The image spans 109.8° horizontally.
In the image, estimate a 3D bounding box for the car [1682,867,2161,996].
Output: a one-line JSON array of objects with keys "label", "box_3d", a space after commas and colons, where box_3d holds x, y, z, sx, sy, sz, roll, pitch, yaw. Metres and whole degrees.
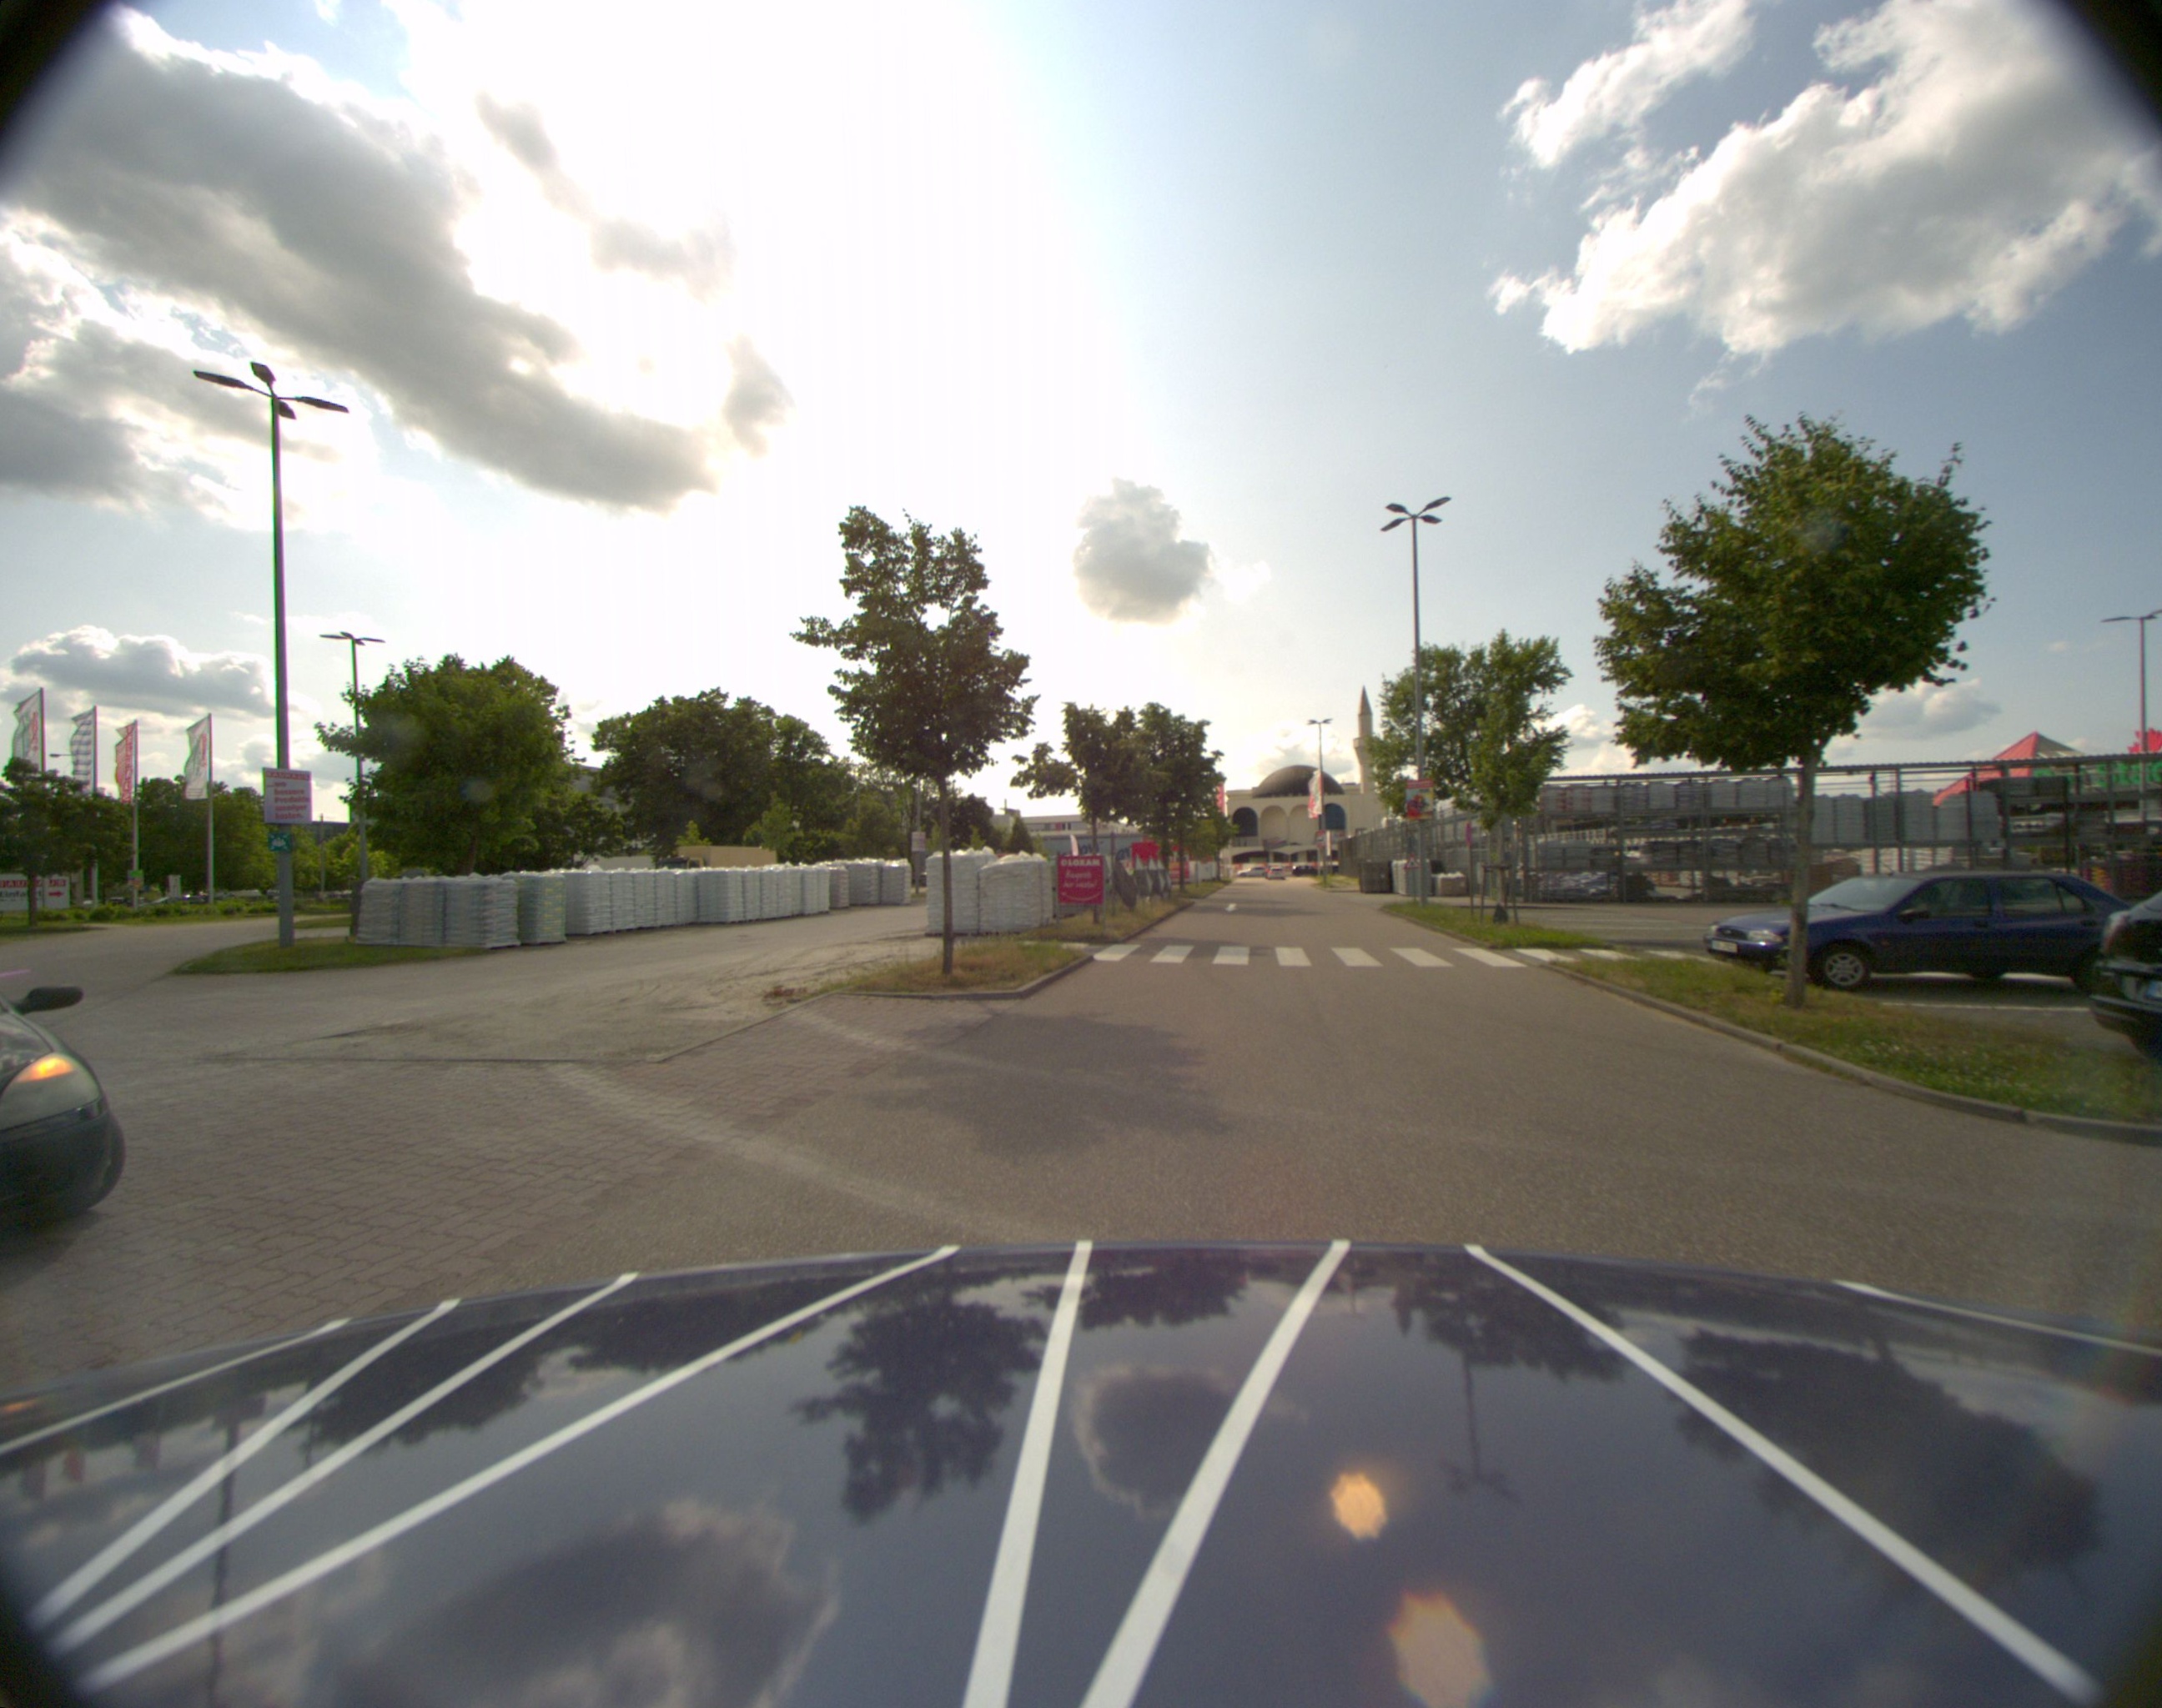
[{"label": "car", "box_3d": [9.875, 0.873, 9.193, 3.757, 1.359, 1.622, -1, 0, 10]}]

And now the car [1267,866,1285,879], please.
[{"label": "car", "box_3d": [23.286, 2.204, 90.910, 1.918, 1.608, 4.379, -1, -1, 12]}]

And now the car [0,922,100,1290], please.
[{"label": "car", "box_3d": [-5.927, 0.981, 3.031, 3.778, 1.313, 1.615, -1, 0, 24]}]

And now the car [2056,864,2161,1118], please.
[{"label": "car", "box_3d": [8.758, 0.840, 4.153, 3.955, 1.615, 1.738, -1, 0, 15]}]

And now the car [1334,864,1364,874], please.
[{"label": "car", "box_3d": [36.014, 2.000, 102.012, 3.703, 1.358, 1.653, -1, -1, 15]}]

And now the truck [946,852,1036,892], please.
[{"label": "truck", "box_3d": [-5.893, 1.180, 50.117, 5.436, 2.500, 2.119, -1, -1, 11]}]

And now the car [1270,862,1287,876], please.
[{"label": "car", "box_3d": [21.902, 1.619, 84.284, 1.806, 1.456, 4.334, -1, -1, 15]}]

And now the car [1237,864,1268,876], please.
[{"label": "car", "box_3d": [23.708, 2.187, 105.071, 4.186, 1.500, 1.794, -1, -1, 14]}]

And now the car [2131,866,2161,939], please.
[{"label": "car", "box_3d": [22.386, 0.909, 13.922, 3.350, 1.396, 1.813, -1, 0, 10]}]

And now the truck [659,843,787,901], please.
[{"label": "truck", "box_3d": [-24.063, 1.189, 51.797, 2.725, 3.577, 9.048, -1, -1, 15]}]

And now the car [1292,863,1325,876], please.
[{"label": "car", "box_3d": [30.000, 1.990, 100.301, 3.993, 1.636, 1.909, -1, 0, 11]}]
